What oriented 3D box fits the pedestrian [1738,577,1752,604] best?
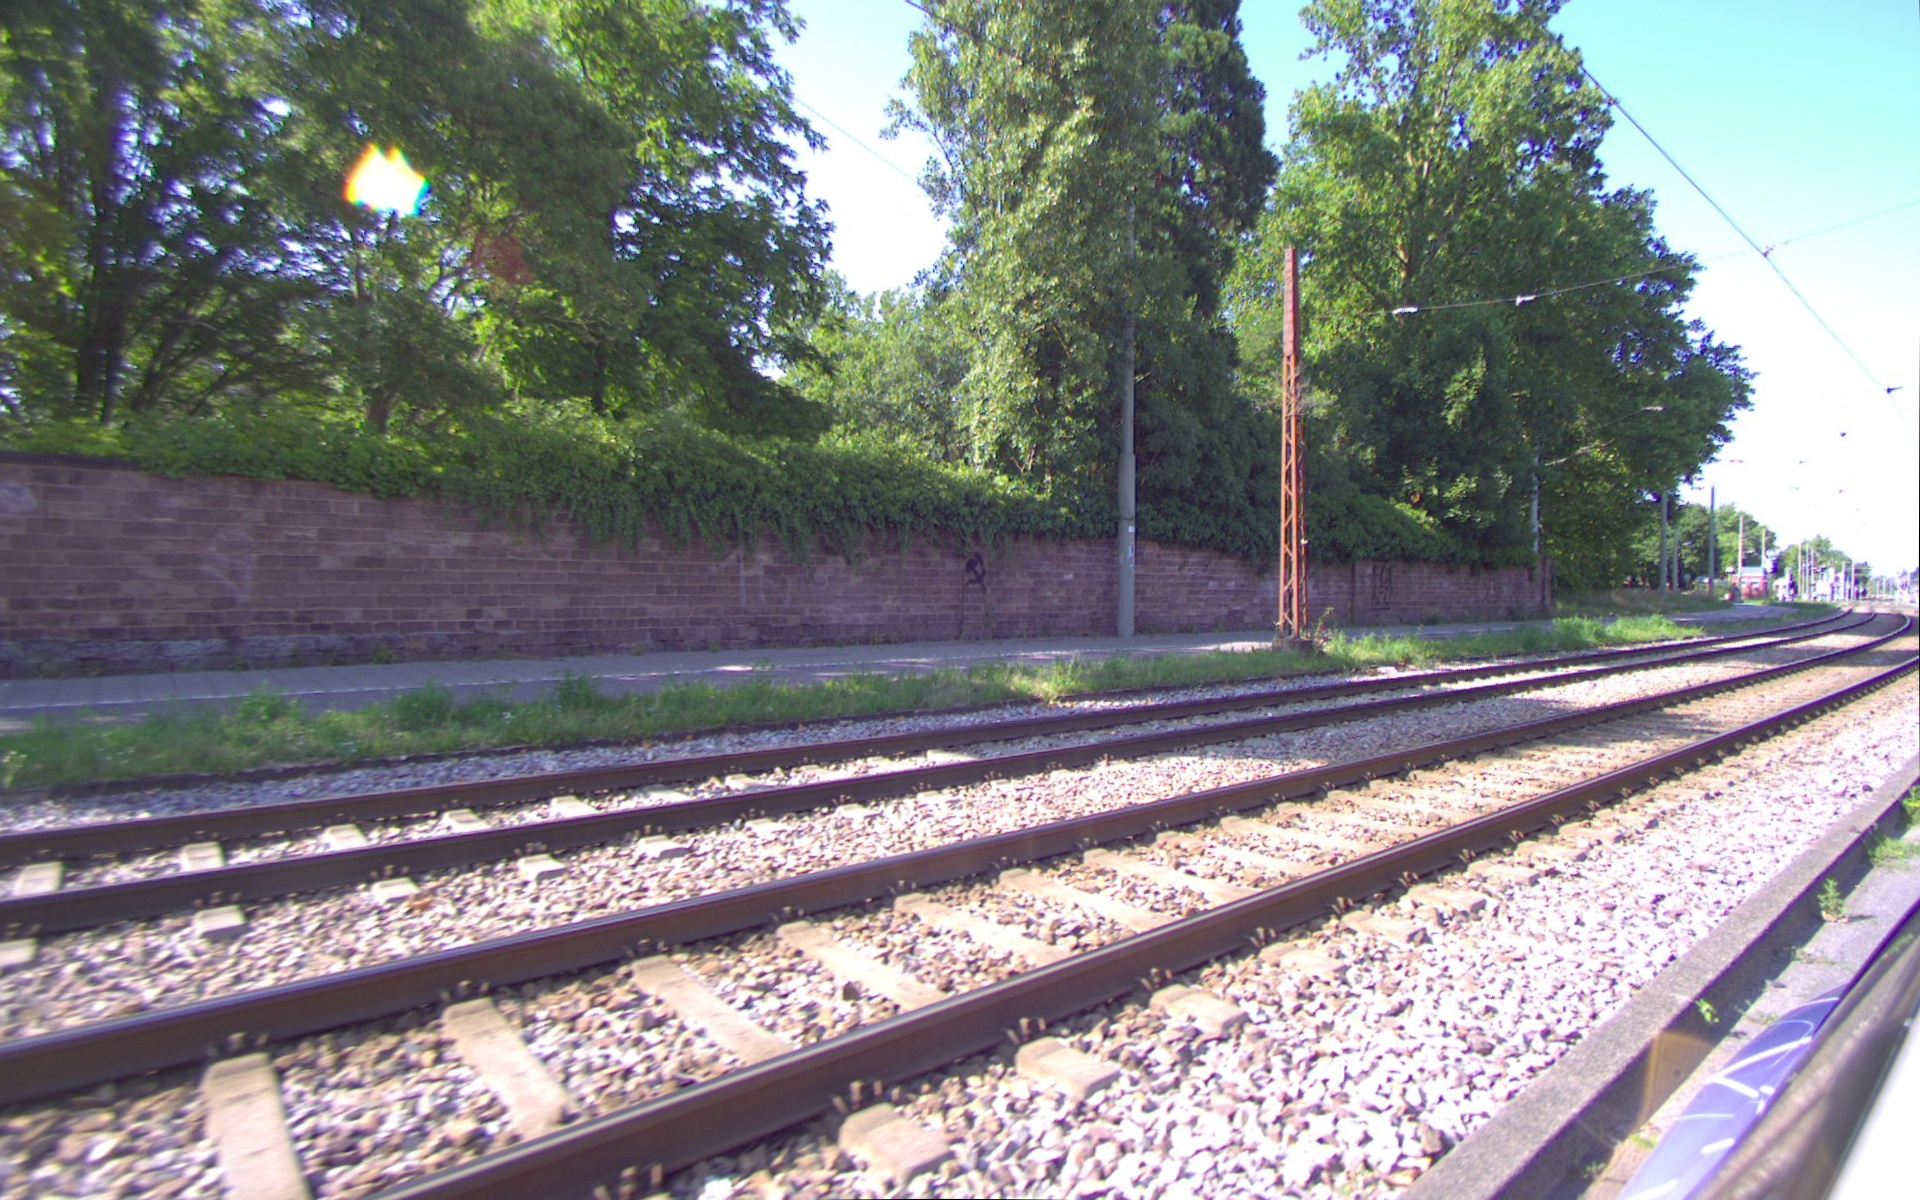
[{"bbox_3d":[49.915,-0.597,64.344,0.869,1.737,0.501,0,1,-39],"label":"pedestrian"}]
